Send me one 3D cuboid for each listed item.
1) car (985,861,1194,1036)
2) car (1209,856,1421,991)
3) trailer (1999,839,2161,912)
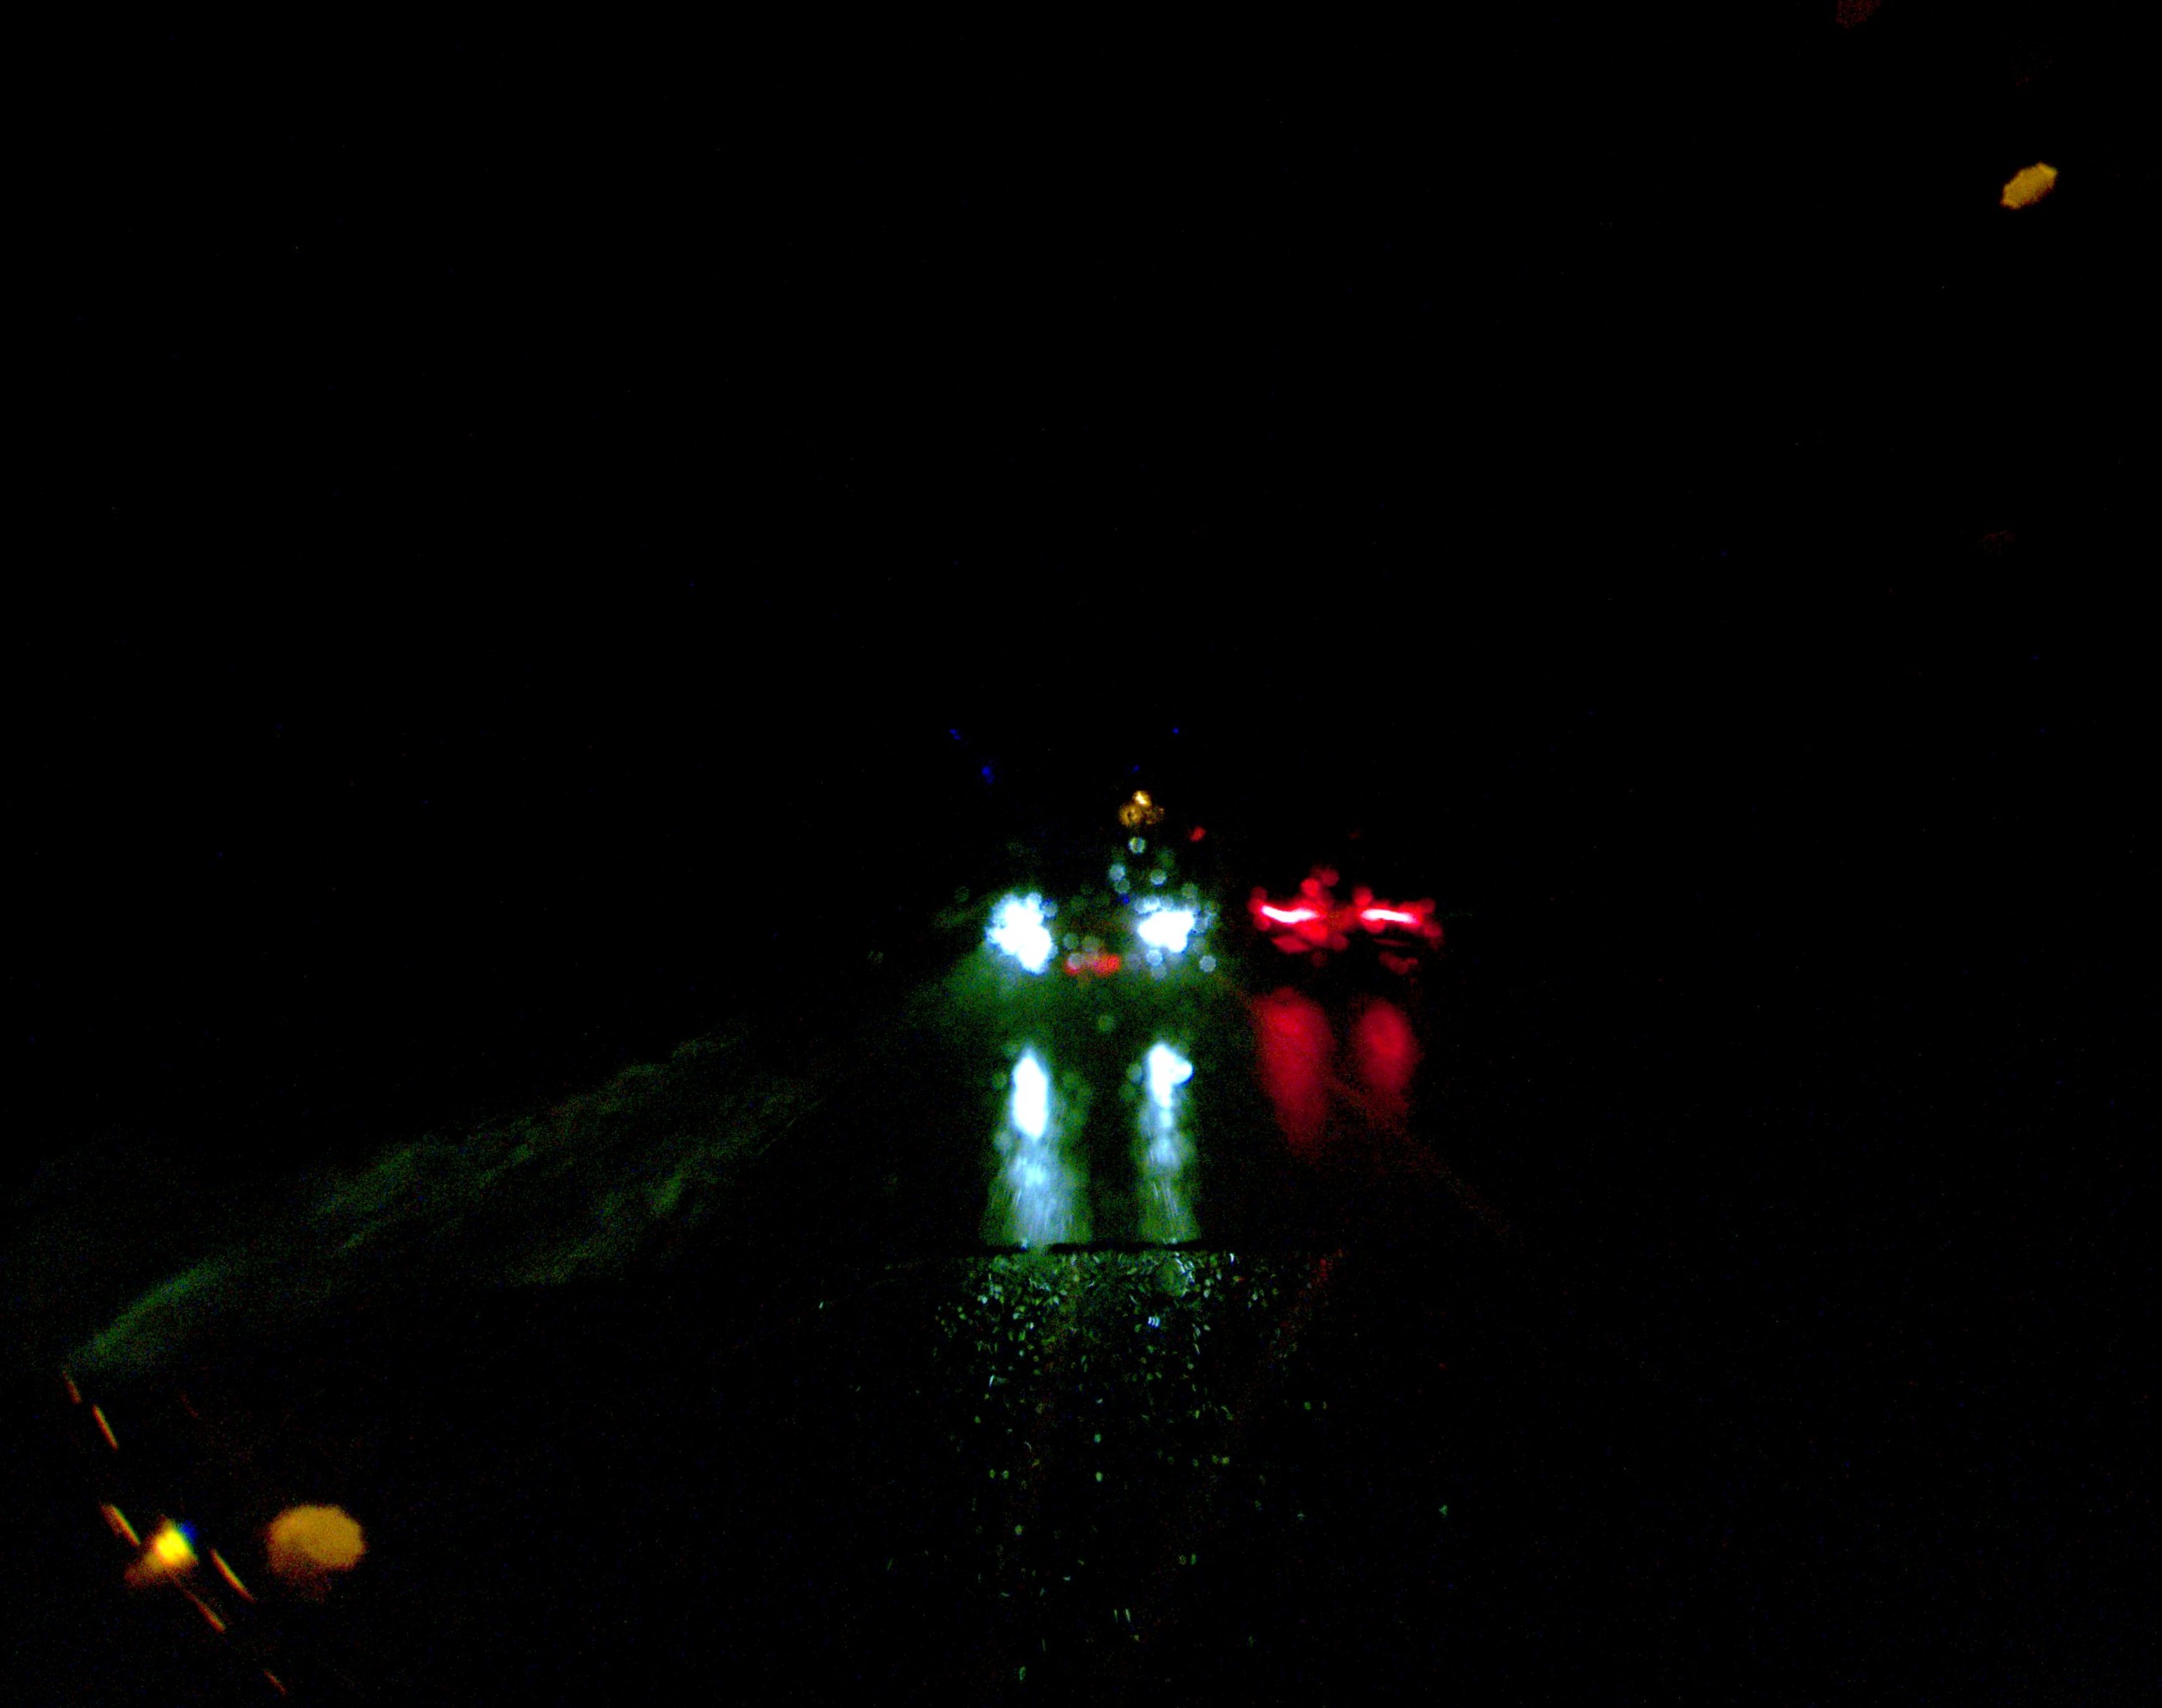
[{"bbox_3d":[0.166,0.922,9.567,1.944,1.580,4.776,-1,0,2],"label":"car"},{"bbox_3d":[3.098,0.854,11.072,1.878,1.536,4.357,1,-1,2],"label":"car"},{"bbox_3d":[33.865,0.670,25.178,3.801,2.206,1.976,2,3,19],"label":"trailer"}]
